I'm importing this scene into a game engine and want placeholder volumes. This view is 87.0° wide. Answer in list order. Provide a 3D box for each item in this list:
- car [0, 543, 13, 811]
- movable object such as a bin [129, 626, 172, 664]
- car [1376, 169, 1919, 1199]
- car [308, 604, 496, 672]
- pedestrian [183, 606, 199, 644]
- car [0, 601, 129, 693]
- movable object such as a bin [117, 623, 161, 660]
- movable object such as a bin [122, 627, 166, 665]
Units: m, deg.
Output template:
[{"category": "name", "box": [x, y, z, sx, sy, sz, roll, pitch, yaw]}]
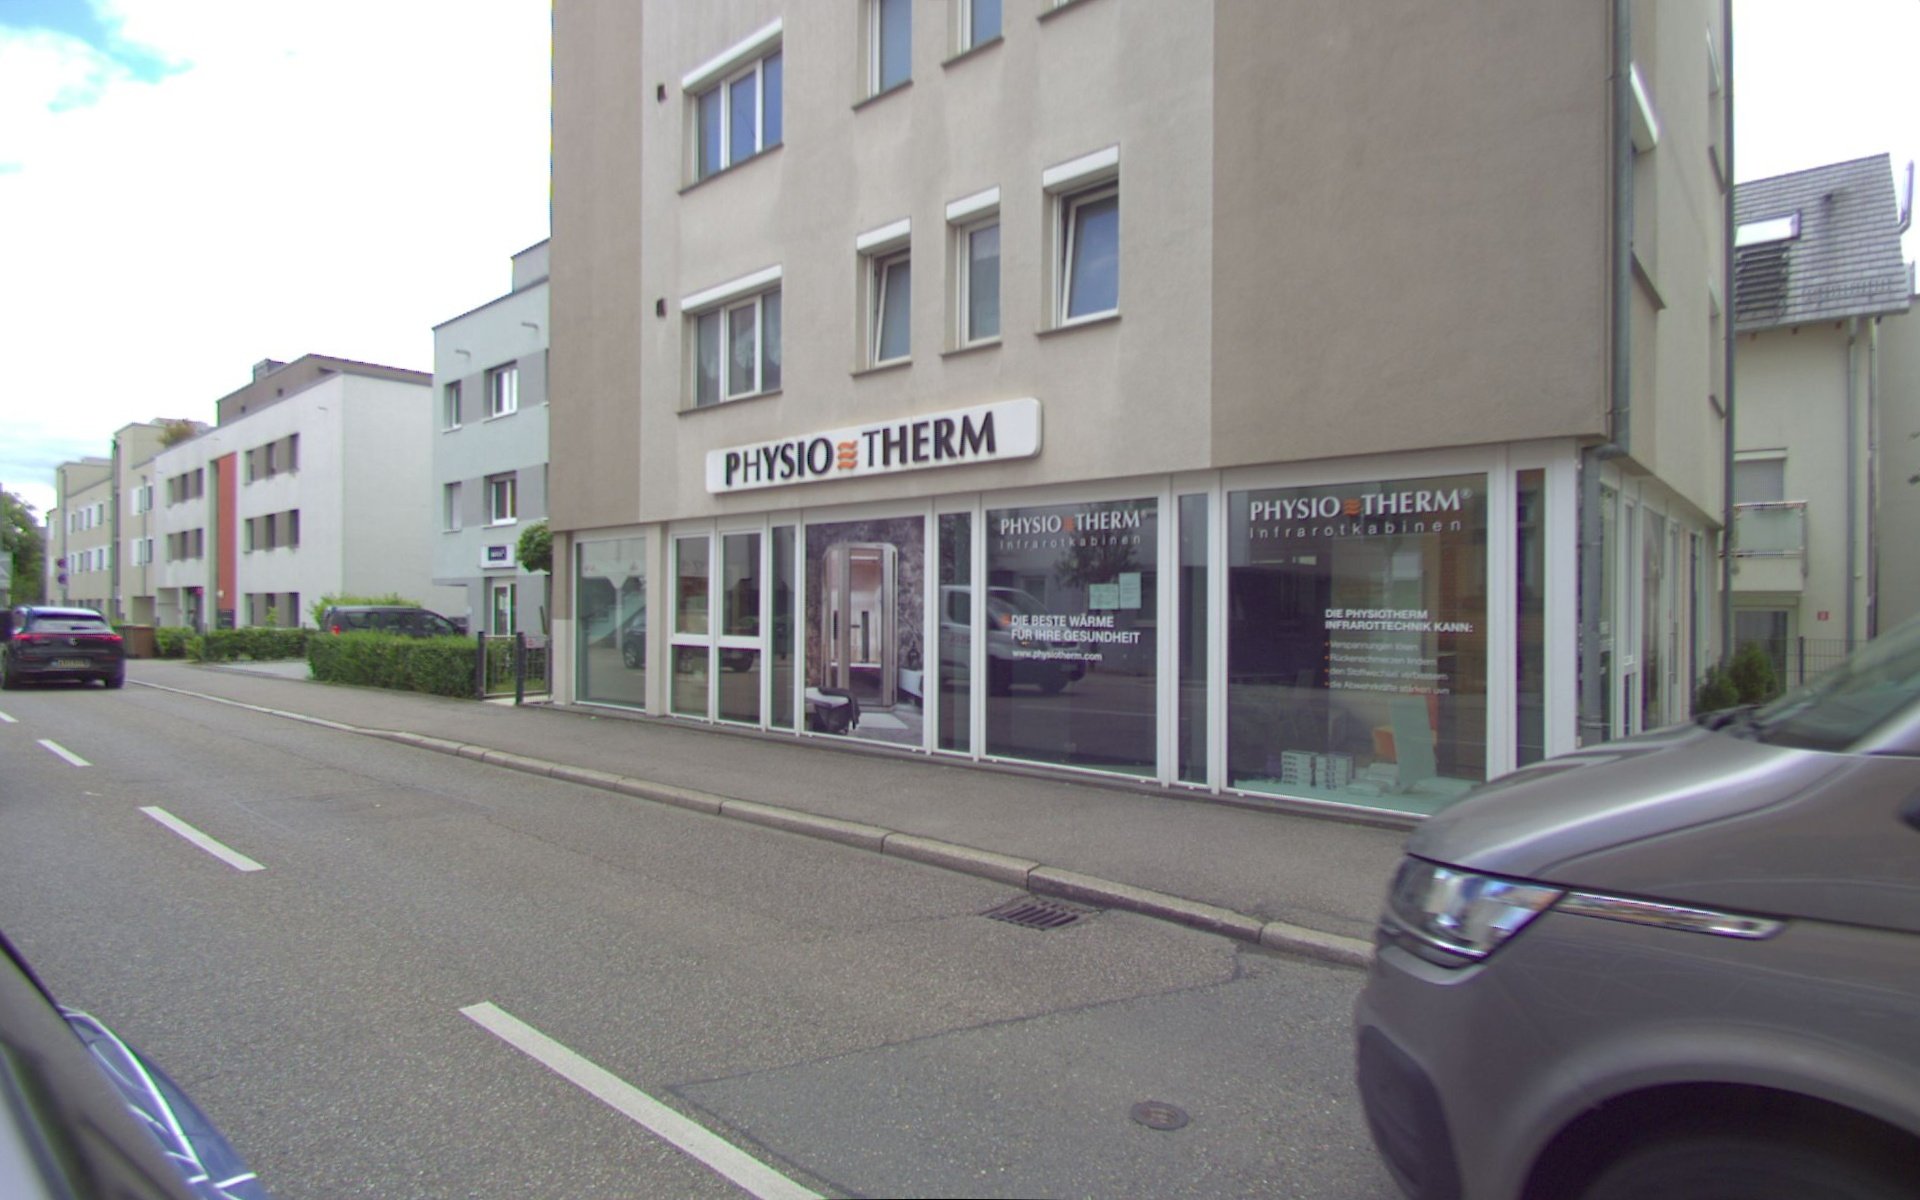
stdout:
[{"category": "car", "box": [-9.568, 0.585, 8.372, 5.058, 1.972, 2.035, -1, -1, 41]}, {"category": "movable object such as a bin", "box": [-25.253, 1.390, 31.584, 0.612, 1.160, 0.932, -1, -1, 37]}, {"category": "car", "box": [3.237, 0.430, 0.966, 4.900, 2.029, 1.973, -1, -2, 41]}, {"category": "car", "box": [-14.913, 0.975, 27.189, 1.725, 1.680, 4.115, 0, -1, 45]}, {"category": "pedestrian", "box": [-33.885, 1.117, 44.579, 0.511, 1.655, 0.642, 0, -1, -32]}, {"category": "car", "box": [-19.421, 0.961, 21.492, 4.551, 1.752, 1.973, -1, -3, 41]}, {"category": "movable object such as a bin", "box": [-26.469, 1.324, 32.634, 0.839, 1.160, 0.947, -1, -1, 37]}, {"category": "movable object such as a bin", "box": [-25.813, 1.434, 32.020, 0.748, 1.160, 0.939, -1, -1, 37]}]
